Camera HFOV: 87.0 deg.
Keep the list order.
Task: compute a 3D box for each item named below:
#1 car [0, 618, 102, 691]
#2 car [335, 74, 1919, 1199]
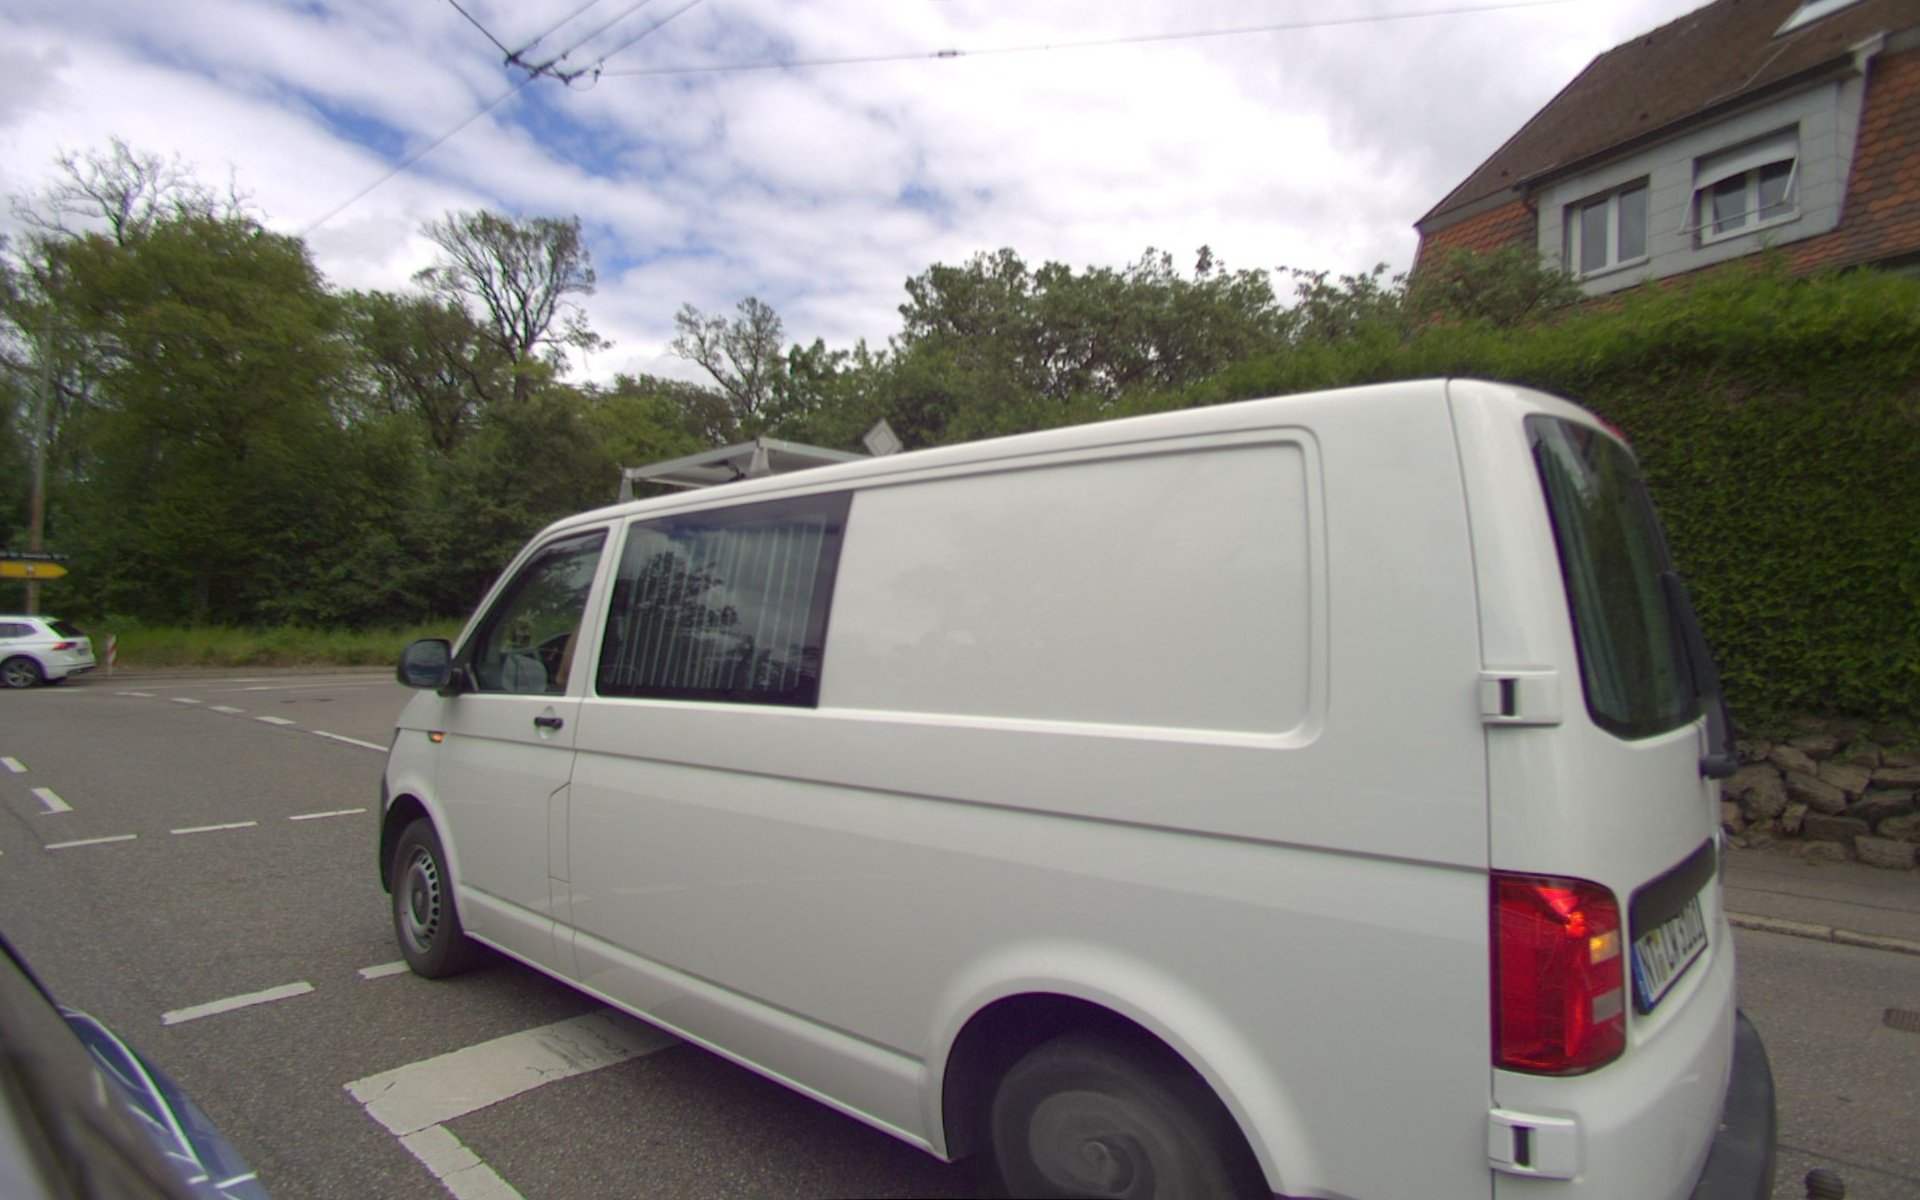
[{"bbox_3d":[-22.968,1.246,23.264,4.573,1.640,1.870,1,-3,-25],"label":"car"},{"bbox_3d":[-0.255,0.498,3.529,5.170,2.063,1.838,-1,-3,42],"label":"car"}]
